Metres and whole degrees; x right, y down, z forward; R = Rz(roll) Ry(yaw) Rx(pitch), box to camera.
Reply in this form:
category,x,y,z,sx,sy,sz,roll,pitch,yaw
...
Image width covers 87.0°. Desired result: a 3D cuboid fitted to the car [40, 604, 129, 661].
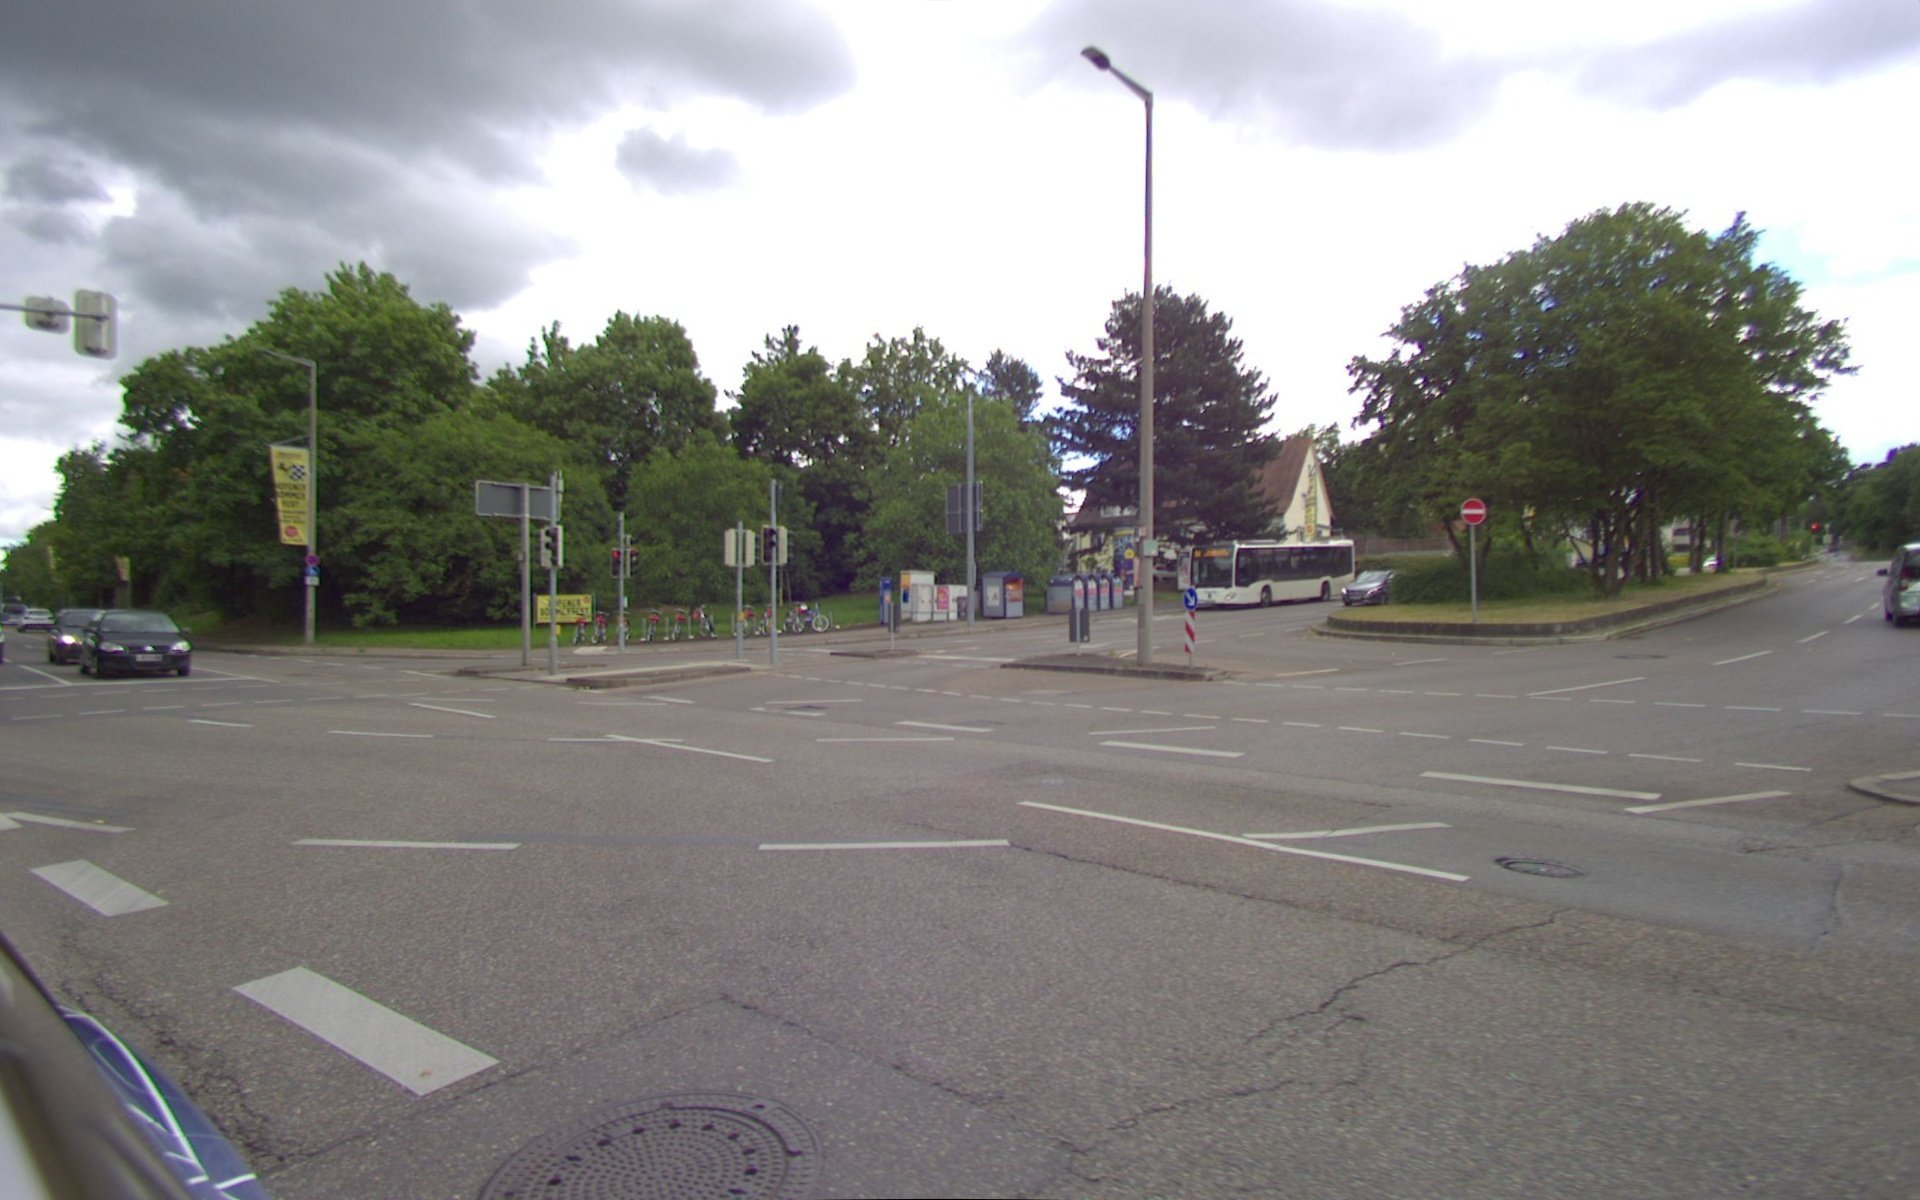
category,x,y,z,sx,sy,sz,roll,pitch,yaw
car,-24.159,0.865,27.877,1.573,1.479,3.931,3,-2,-45

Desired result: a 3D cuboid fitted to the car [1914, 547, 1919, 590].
category,x,y,z,sx,sy,sz,roll,pitch,yaw
car,34.702,-1.096,35.316,1.950,1.434,4.475,-1,0,45

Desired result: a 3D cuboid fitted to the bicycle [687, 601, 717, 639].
category,x,y,z,sx,sy,sz,roll,pitch,yaw
bicycle,-9.162,0.689,35.868,0.536,1.262,1.941,-1,1,-30

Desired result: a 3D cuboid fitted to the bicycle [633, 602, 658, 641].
category,x,y,z,sx,sy,sz,roll,pitch,yaw
bicycle,-10.933,0.729,35.217,0.537,1.262,1.939,-1,1,-9

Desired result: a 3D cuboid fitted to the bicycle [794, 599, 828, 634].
category,x,y,z,sx,sy,sz,roll,pitch,yaw
bicycle,-5.548,0.601,37.583,0.536,1.262,1.941,-1,1,-30

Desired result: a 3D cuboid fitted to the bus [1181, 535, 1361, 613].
category,x,y,z,sx,sy,sz,roll,pitch,yaw
bus,15.393,-1.394,49.136,12.166,3.186,2.682,-5,3,-44

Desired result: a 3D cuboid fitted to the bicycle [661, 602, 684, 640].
category,x,y,z,sx,sy,sz,roll,pitch,yaw
bicycle,-10.059,0.711,35.481,0.537,1.262,1.939,-1,1,-9

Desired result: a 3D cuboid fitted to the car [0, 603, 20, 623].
category,x,y,z,sx,sy,sz,roll,pitch,yaw
car,-78.452,1.073,83.194,1.719,1.550,3.914,-1,1,-43

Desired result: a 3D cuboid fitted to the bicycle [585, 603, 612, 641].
category,x,y,z,sx,sy,sz,roll,pitch,yaw
bicycle,-12.551,0.757,35.164,0.537,1.262,1.939,-1,1,-9

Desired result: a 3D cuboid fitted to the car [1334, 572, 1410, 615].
category,x,y,z,sx,sy,sz,roll,pitch,yaw
car,19.137,-0.348,46.929,1.998,1.866,4.684,0,1,39

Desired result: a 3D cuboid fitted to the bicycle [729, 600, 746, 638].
category,x,y,z,sx,sy,sz,roll,pitch,yaw
bicycle,-8.013,0.662,36.355,0.536,1.262,1.940,-1,1,-13

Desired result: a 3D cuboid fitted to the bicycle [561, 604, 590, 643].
category,x,y,z,sx,sy,sz,roll,pitch,yaw
bicycle,-13.166,0.774,34.720,0.537,1.262,1.939,-1,1,-9

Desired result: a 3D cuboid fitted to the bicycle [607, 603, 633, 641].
category,x,y,z,sx,sy,sz,roll,pitch,yaw
bicycle,-11.834,0.744,35.231,0.537,1.262,1.939,-1,1,-9

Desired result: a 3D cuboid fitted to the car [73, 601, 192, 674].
category,x,y,z,sx,sy,sz,roll,pitch,yaw
car,-18.221,0.801,22.226,3.808,1.478,1.539,-1,-3,44

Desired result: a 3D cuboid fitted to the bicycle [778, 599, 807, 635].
category,x,y,z,sx,sy,sz,roll,pitch,yaw
bicycle,-6.186,0.616,37.284,0.536,1.262,1.942,-1,1,-24

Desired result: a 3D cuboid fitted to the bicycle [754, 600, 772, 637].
category,x,y,z,sx,sy,sz,roll,pitch,yaw
bicycle,-7.165,0.642,36.737,0.536,1.262,1.940,-1,1,-13

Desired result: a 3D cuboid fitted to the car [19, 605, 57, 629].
category,x,y,z,sx,sy,sz,roll,pitch,yaw
car,-62.147,1.143,68.242,1.718,1.550,3.916,-1,1,-41

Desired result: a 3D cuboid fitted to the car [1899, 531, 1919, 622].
category,x,y,z,sx,sy,sz,roll,pitch,yaw
car,22.113,-0.513,22.139,4.473,1.888,1.951,-1,0,-43
